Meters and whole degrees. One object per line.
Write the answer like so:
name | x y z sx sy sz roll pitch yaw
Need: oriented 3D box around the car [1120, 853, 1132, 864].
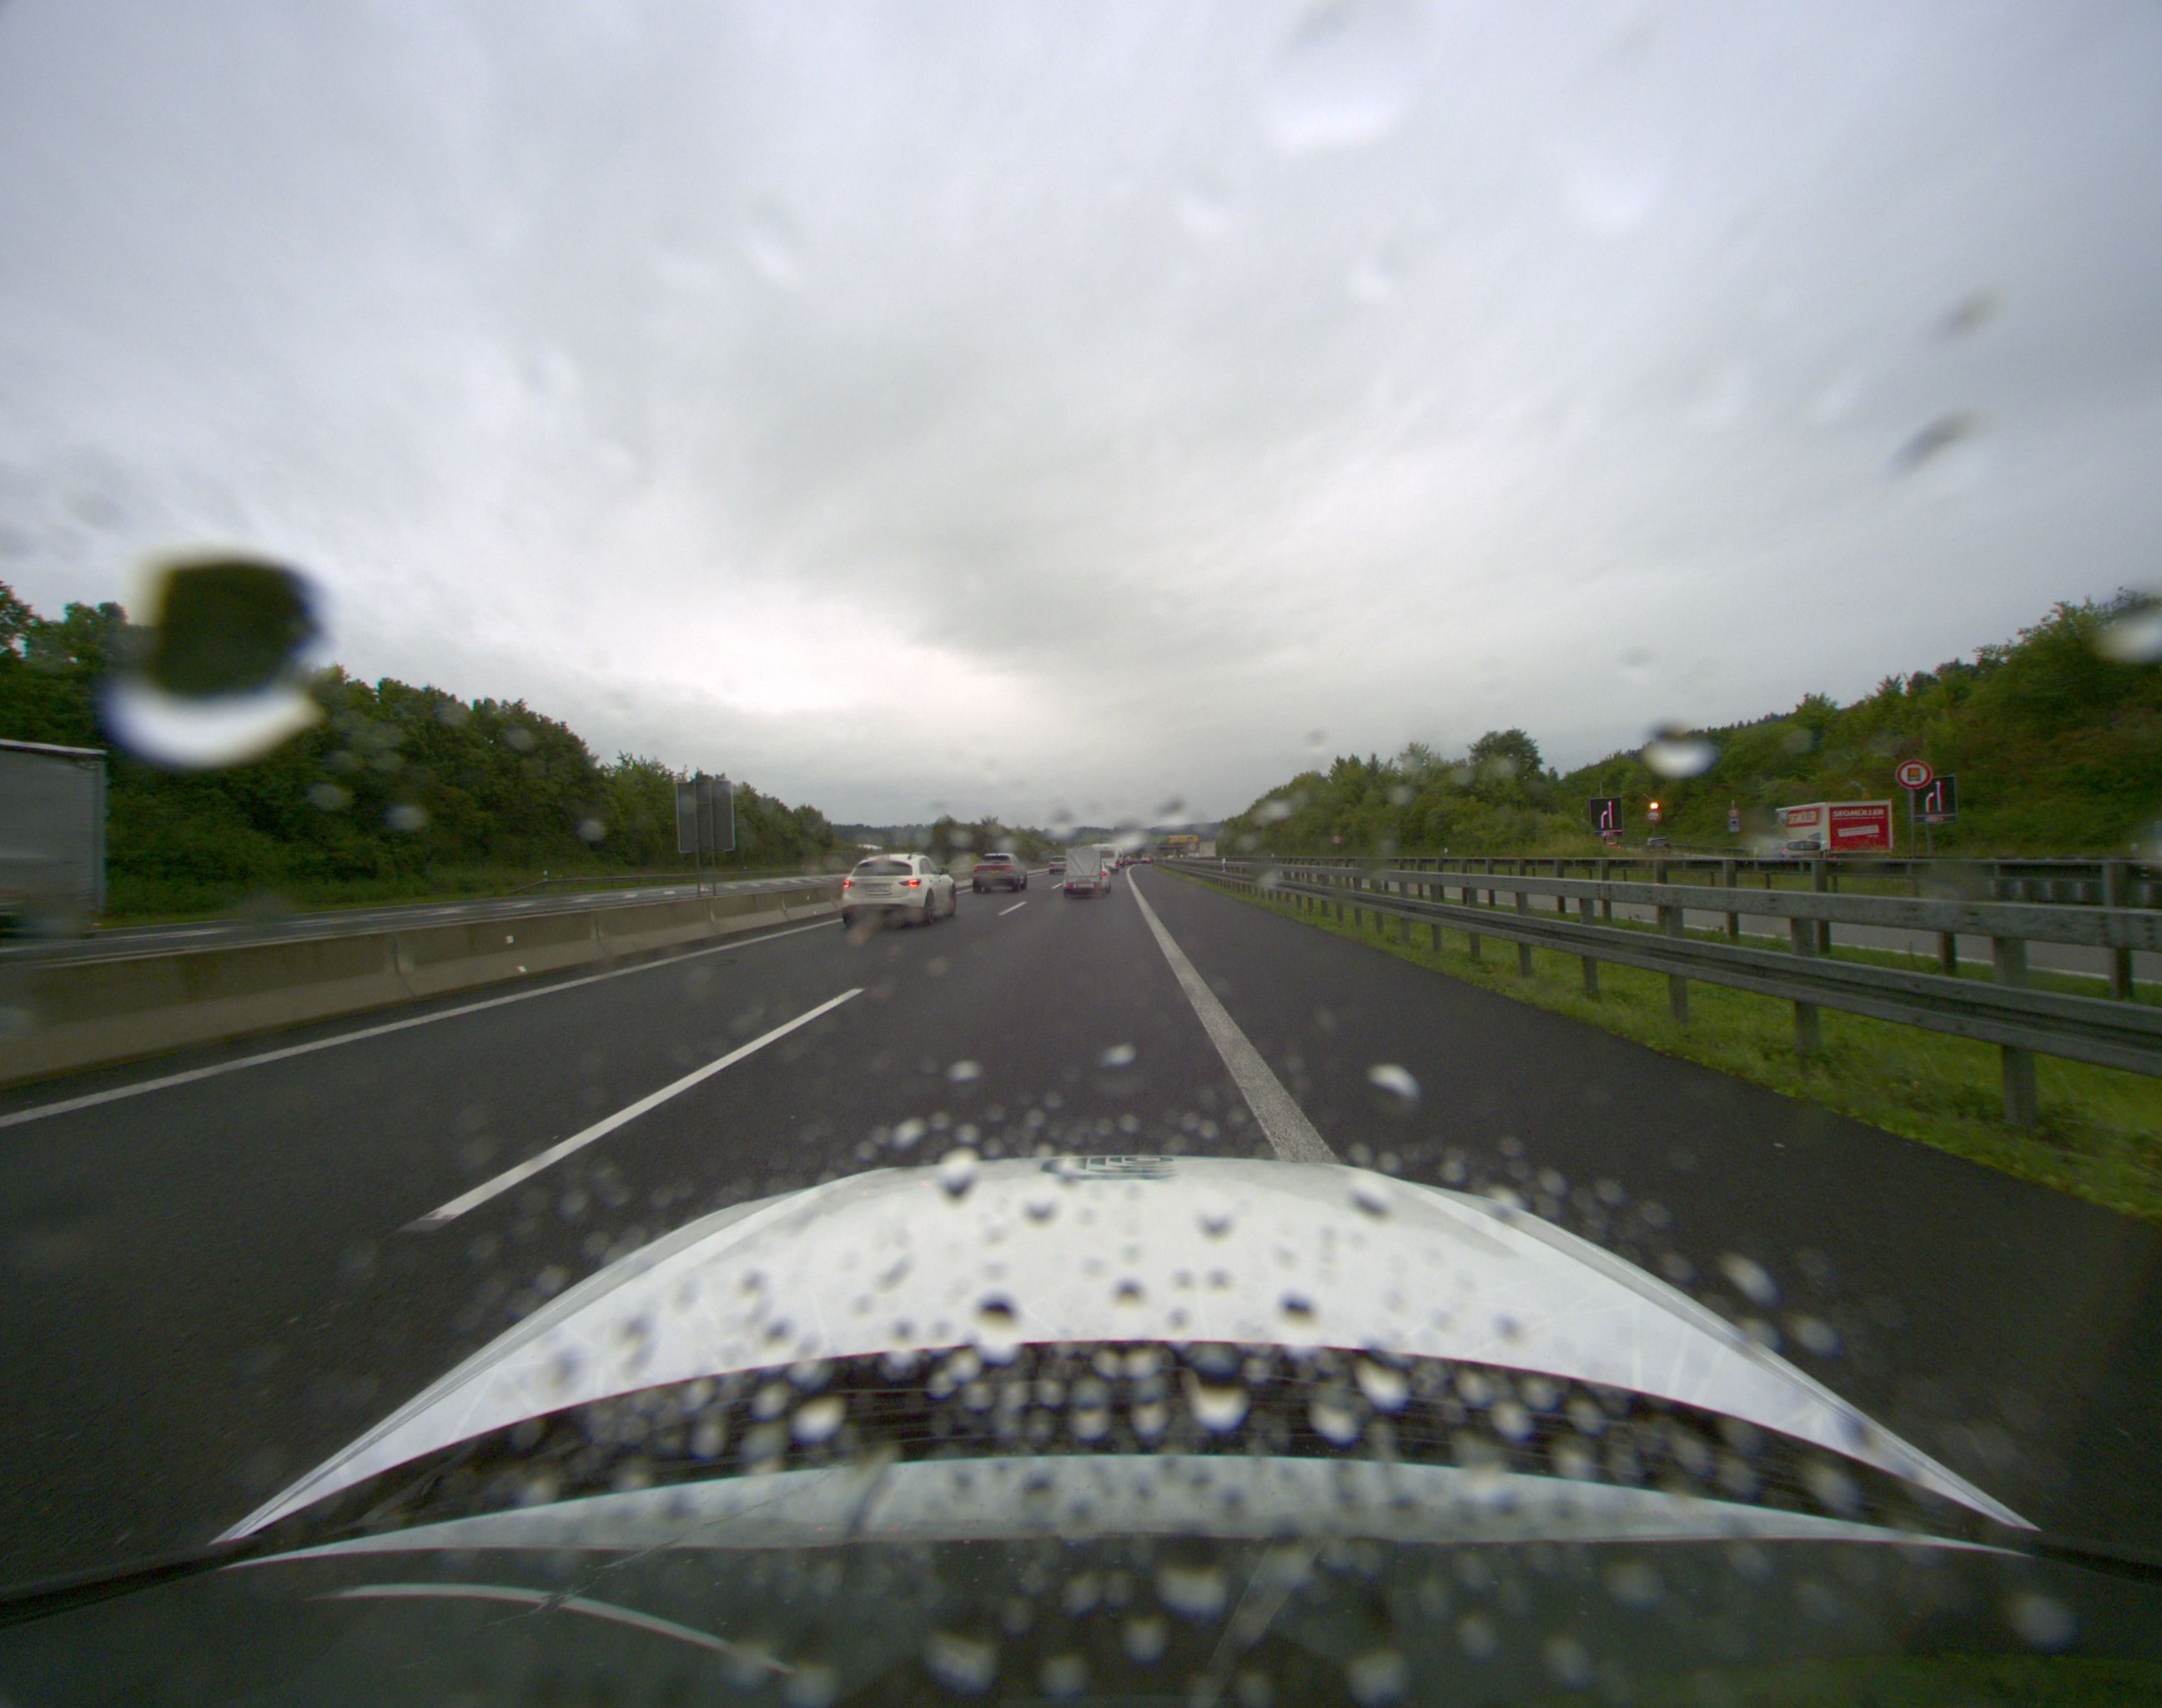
car | 7.739 0.787 139.479 1.984 1.750 4.005 0 -1 5

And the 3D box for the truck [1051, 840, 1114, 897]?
truck | 0.194 0.514 32.642 2.010 1.985 7.220 -1 0 4

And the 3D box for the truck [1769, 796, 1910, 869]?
truck | 39.594 -1.006 42.935 2.872 3.395 9.028 -1 0 26

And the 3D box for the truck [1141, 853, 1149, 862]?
truck | 20.530 1.125 261.251 2.266 3.082 7.258 -1 -1 6

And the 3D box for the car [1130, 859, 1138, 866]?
car | 12.670 1.974 194.949 1.984 1.750 4.005 0 -1 5

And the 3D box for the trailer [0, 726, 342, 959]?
trailer | -20.603 -0.171 13.670 3.247 4.083 13.853 -1 0 2

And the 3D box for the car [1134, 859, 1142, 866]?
car | 16.213 2.413 231.328 1.983 1.750 4.007 -1 -1 6

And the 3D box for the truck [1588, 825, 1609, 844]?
truck | 75.390 -2.784 118.788 2.416 2.704 5.604 -2 0 31

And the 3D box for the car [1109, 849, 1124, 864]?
car | 5.000 0.340 114.061 1.986 2.036 4.152 0 -1 1

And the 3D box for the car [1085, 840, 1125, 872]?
car | 2.180 0.134 71.486 3.002 2.616 6.084 -2 0 6

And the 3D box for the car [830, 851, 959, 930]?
car | -4.333 0.801 19.710 1.969 1.639 4.501 -1 0 1

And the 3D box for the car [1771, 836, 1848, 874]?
car | 33.776 0.040 37.888 1.842 1.659 4.501 -2 0 31

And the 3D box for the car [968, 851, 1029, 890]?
car | -3.676 0.721 36.923 2.166 1.631 4.501 -1 0 1

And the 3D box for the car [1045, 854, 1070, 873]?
car | -2.091 0.812 73.756 1.893 1.613 4.019 -1 0 2

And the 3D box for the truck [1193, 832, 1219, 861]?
truck | 23.656 -1.374 154.110 4.074 5.103 10.477 -1 0 5

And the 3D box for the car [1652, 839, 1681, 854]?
car | 60.432 -0.804 84.123 1.842 1.447 4.183 -2 0 29
